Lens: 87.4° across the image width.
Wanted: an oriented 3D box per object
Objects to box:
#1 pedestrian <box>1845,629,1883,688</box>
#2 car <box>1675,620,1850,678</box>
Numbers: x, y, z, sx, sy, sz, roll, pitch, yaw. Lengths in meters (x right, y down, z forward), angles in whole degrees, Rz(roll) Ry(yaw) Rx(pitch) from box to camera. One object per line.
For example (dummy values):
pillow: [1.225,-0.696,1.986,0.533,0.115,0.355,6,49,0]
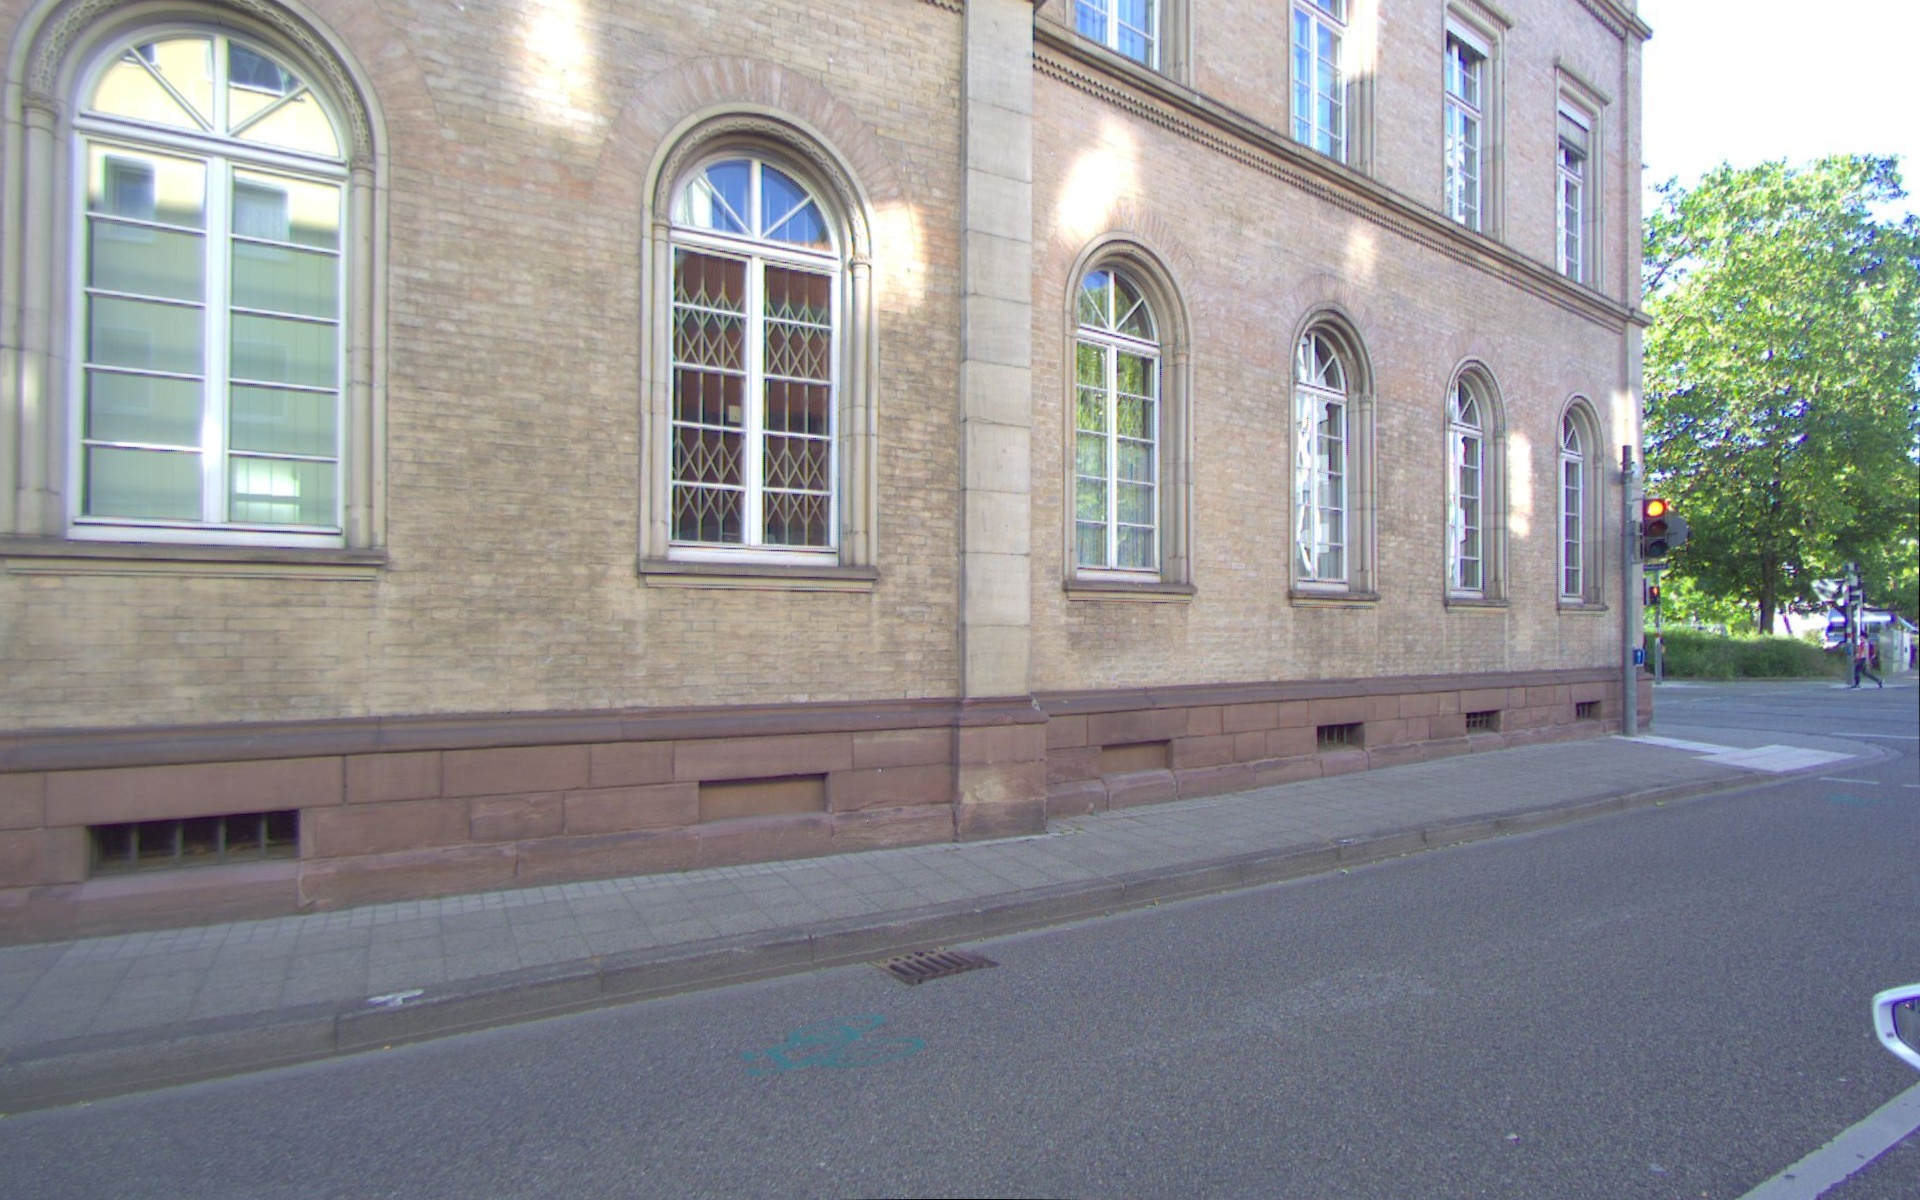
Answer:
pedestrian: [25.416,1.633,28.252,0.703,1.620,0.615,-1,-1,37]
car: [26.364,1.565,33.118,1.888,1.801,4.193,1,-2,-37]
